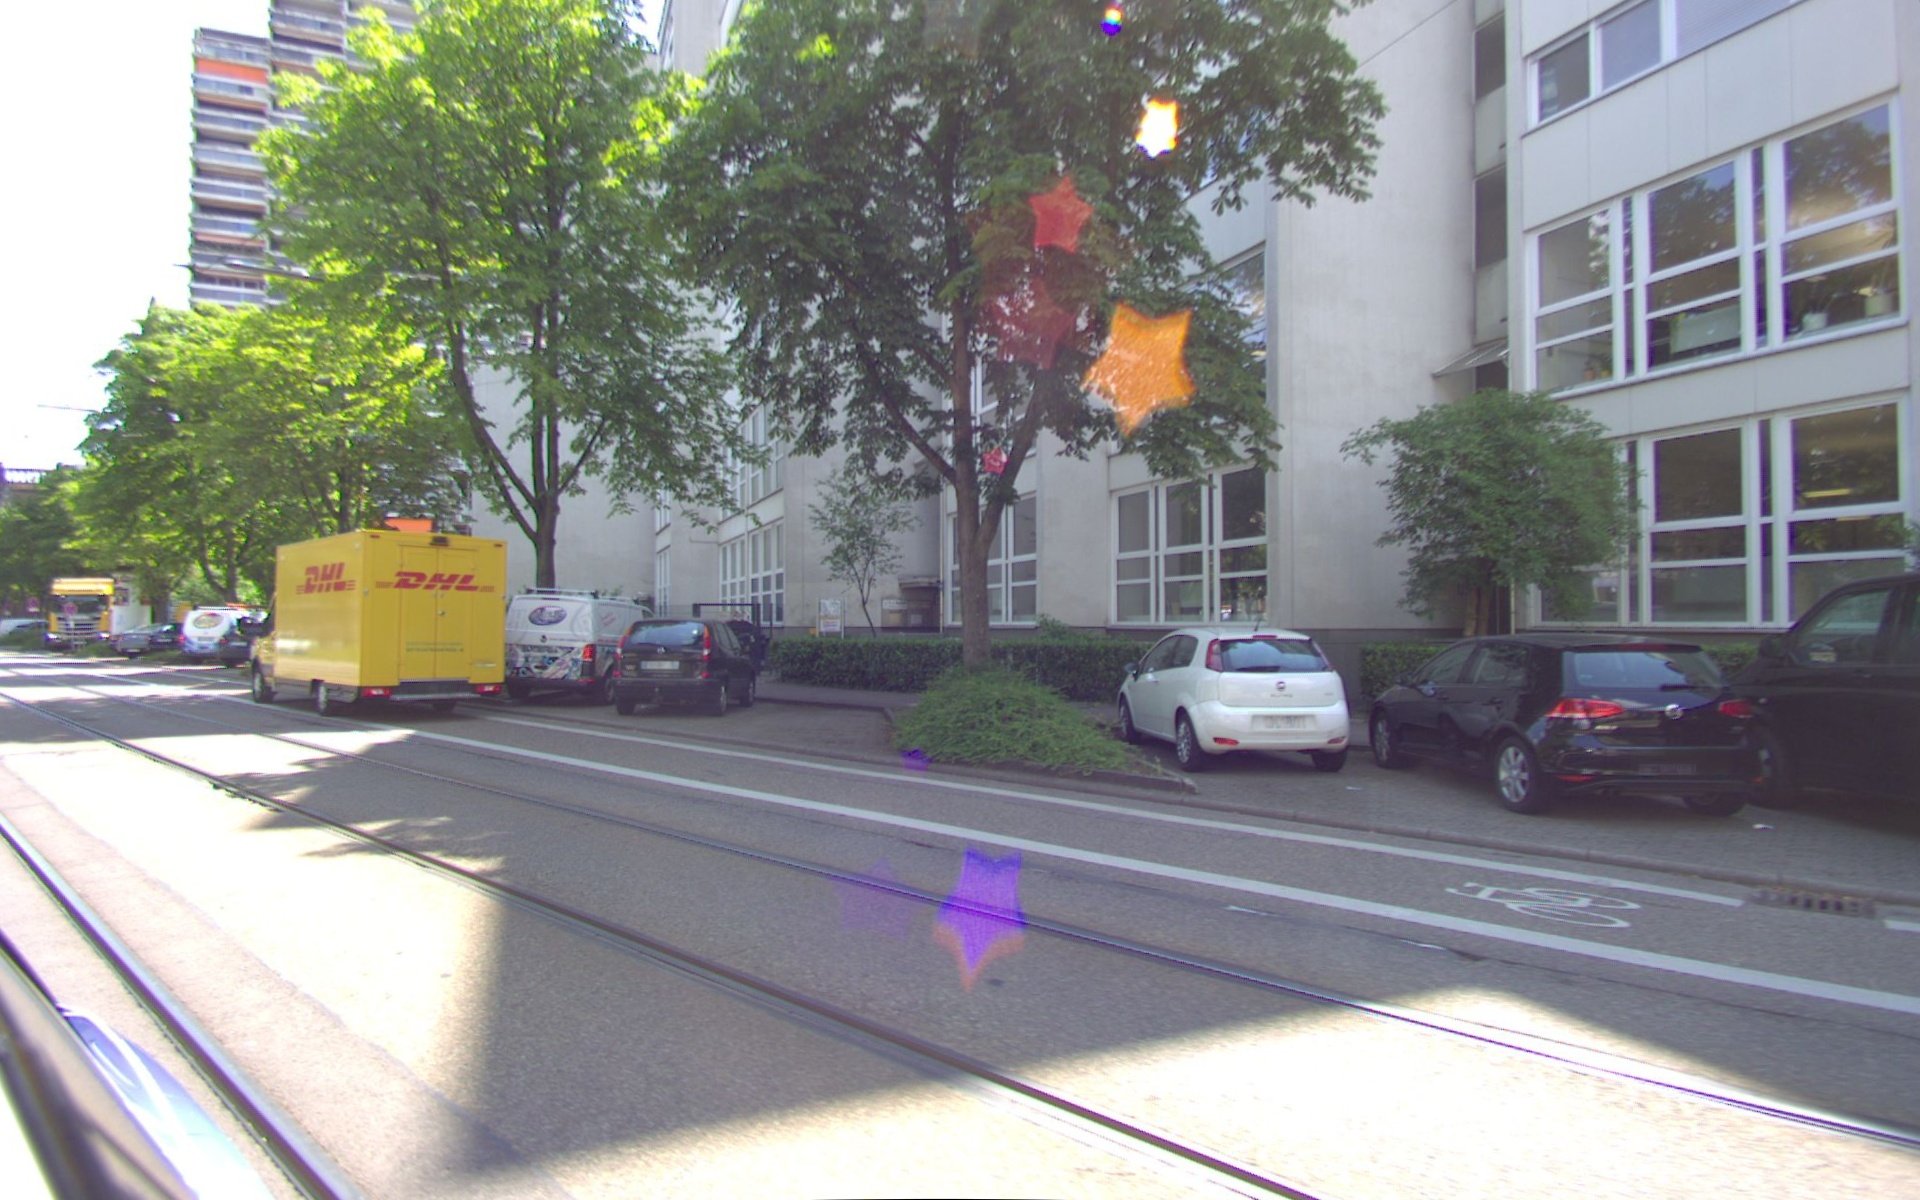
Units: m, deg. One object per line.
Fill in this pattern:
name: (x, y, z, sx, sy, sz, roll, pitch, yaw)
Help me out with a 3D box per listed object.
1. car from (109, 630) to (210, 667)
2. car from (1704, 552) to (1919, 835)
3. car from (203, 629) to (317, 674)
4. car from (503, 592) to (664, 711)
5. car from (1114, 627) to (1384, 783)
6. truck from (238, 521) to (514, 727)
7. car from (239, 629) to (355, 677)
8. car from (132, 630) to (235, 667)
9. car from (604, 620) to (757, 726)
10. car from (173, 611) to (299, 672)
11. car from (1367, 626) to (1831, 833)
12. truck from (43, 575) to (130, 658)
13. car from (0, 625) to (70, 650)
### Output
car: (-34.200, 2.045, 43.368, 1.657, 1.465, 3.679, 0, -2, -5)
car: (7.526, 0.632, 6.725, 1.937, 1.940, 4.581, 0, -2, 4)
car: (-24.138, 1.757, 35.052, 1.657, 1.465, 3.679, 0, -2, -5)
car: (-7.126, 0.944, 19.583, 1.580, 2.058, 4.051, 0, -2, 0)
car: (3.027, 1.045, 11.420, 1.700, 1.465, 3.631, 0, -2, -5)
truck: (-10.298, 0.429, 17.531, 6.514, 2.943, 2.276, -2, -2, 43)
car: (-21.786, 1.710, 33.432, 1.657, 1.465, 3.679, 0, -2, -5)
car: (-31.874, 1.952, 41.655, 1.657, 1.430, 3.679, 0, -2, -5)
car: (-4.614, 1.157, 17.217, 1.658, 1.587, 3.685, 1, -2, -2)
car: (-26.538, 1.497, 37.315, 1.849, 2.124, 4.594, 0, -2, -8)
car: (5.337, 0.979, 9.181, 1.659, 1.465, 3.944, 0, -2, 0)
truck: (-48.455, 1.003, 56.398, 2.633, 4.212, 10.498, 1, -2, -35)
car: (-70.549, 2.854, 76.780, 1.977, 1.821, 4.318, 0, -2, 8)
